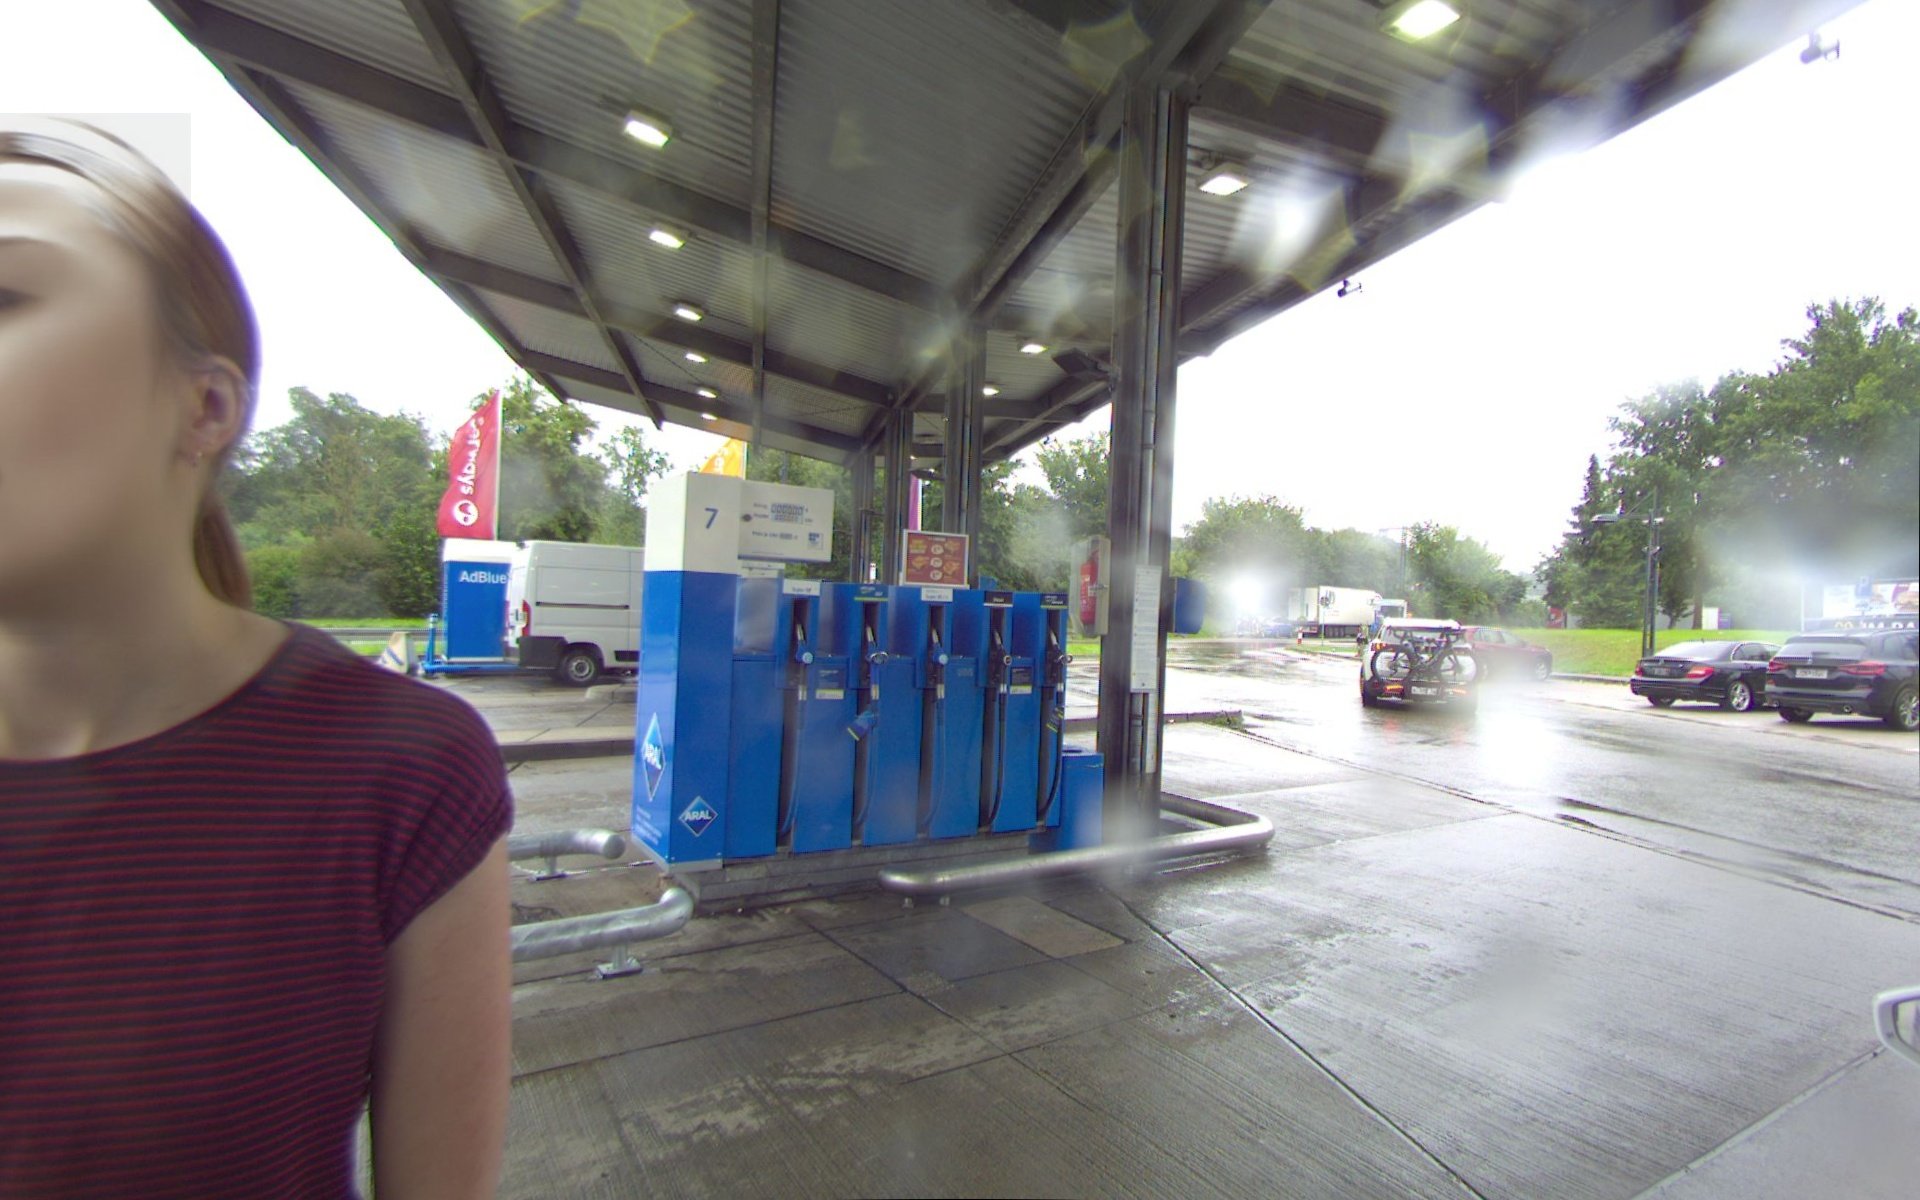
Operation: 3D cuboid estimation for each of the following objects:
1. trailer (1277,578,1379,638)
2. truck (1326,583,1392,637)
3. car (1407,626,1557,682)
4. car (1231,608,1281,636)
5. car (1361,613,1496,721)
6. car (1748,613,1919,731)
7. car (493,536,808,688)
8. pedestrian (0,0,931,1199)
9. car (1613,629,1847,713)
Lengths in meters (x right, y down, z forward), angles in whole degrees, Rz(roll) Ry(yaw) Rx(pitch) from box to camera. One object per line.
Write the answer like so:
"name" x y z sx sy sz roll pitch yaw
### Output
"trailer" 30.916 0.757 83.863 3.416 4.618 13.847 2 0 40
"truck" 35.589 0.928 89.466 3.416 4.618 6.704 2 0 40
"car" 16.141 1.650 31.039 4.294 1.617 1.879 1 -1 -24
"car" 20.921 1.515 70.850 1.903 1.862 4.373 1 0 38
"car" 8.213 1.058 18.000 1.784 1.586 5.003 1 0 21
"car" 16.153 1.190 17.411 4.344 1.852 1.883 1 -1 -19
"car" -5.756 0.268 18.941 5.227 2.496 2.306 1 -1 -34
"pedestrian" -0.584 0.547 0.613 0.830 1.757 0.790 2 -1 -31
"car" 15.940 1.419 20.831 4.119 1.585 1.883 1 -1 -19
